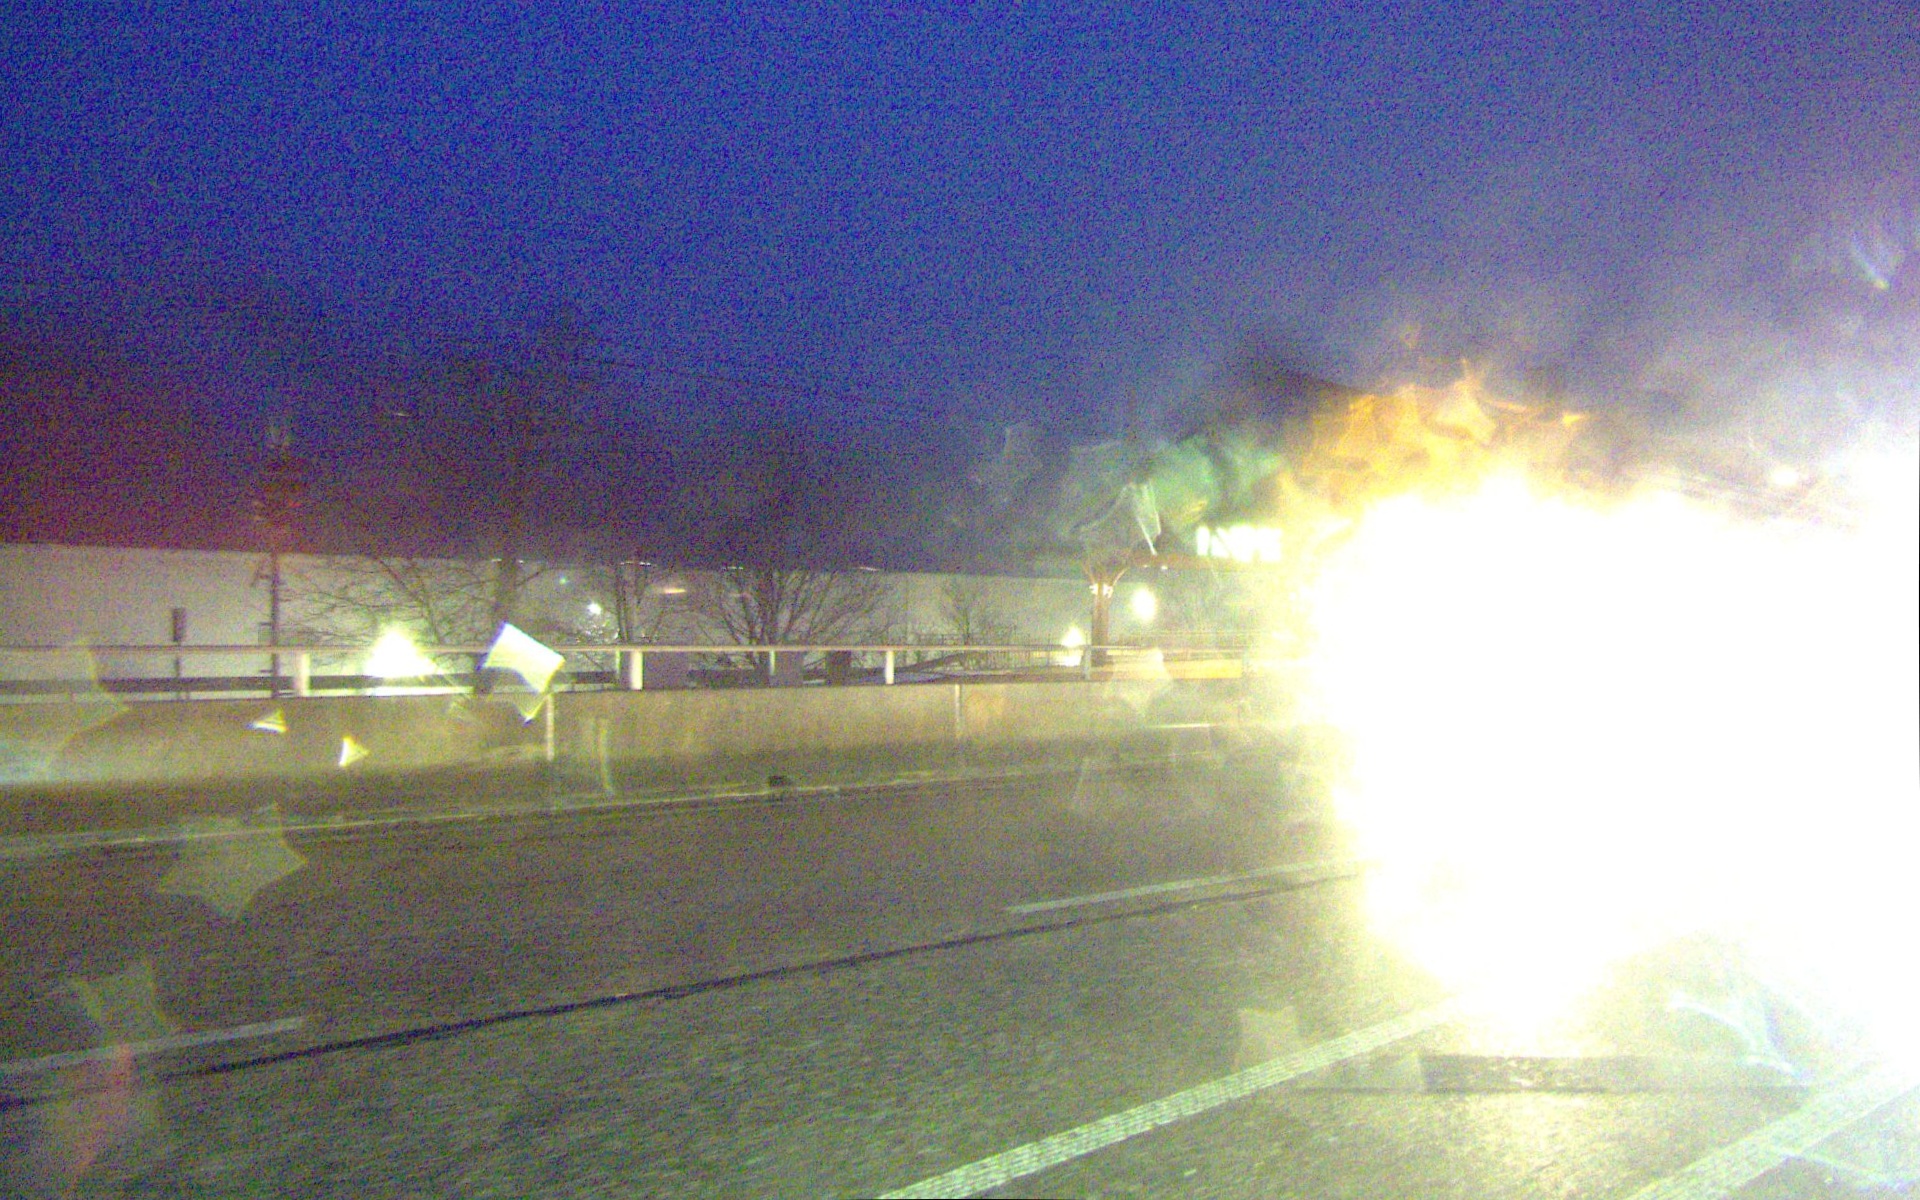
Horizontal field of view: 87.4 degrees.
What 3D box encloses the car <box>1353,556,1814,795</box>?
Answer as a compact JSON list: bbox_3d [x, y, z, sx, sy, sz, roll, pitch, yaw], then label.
[{"bbox_3d":[6.391,0.660,10.181,4.686,1.937,1.984,1,-1,-30],"label":"car"}]
